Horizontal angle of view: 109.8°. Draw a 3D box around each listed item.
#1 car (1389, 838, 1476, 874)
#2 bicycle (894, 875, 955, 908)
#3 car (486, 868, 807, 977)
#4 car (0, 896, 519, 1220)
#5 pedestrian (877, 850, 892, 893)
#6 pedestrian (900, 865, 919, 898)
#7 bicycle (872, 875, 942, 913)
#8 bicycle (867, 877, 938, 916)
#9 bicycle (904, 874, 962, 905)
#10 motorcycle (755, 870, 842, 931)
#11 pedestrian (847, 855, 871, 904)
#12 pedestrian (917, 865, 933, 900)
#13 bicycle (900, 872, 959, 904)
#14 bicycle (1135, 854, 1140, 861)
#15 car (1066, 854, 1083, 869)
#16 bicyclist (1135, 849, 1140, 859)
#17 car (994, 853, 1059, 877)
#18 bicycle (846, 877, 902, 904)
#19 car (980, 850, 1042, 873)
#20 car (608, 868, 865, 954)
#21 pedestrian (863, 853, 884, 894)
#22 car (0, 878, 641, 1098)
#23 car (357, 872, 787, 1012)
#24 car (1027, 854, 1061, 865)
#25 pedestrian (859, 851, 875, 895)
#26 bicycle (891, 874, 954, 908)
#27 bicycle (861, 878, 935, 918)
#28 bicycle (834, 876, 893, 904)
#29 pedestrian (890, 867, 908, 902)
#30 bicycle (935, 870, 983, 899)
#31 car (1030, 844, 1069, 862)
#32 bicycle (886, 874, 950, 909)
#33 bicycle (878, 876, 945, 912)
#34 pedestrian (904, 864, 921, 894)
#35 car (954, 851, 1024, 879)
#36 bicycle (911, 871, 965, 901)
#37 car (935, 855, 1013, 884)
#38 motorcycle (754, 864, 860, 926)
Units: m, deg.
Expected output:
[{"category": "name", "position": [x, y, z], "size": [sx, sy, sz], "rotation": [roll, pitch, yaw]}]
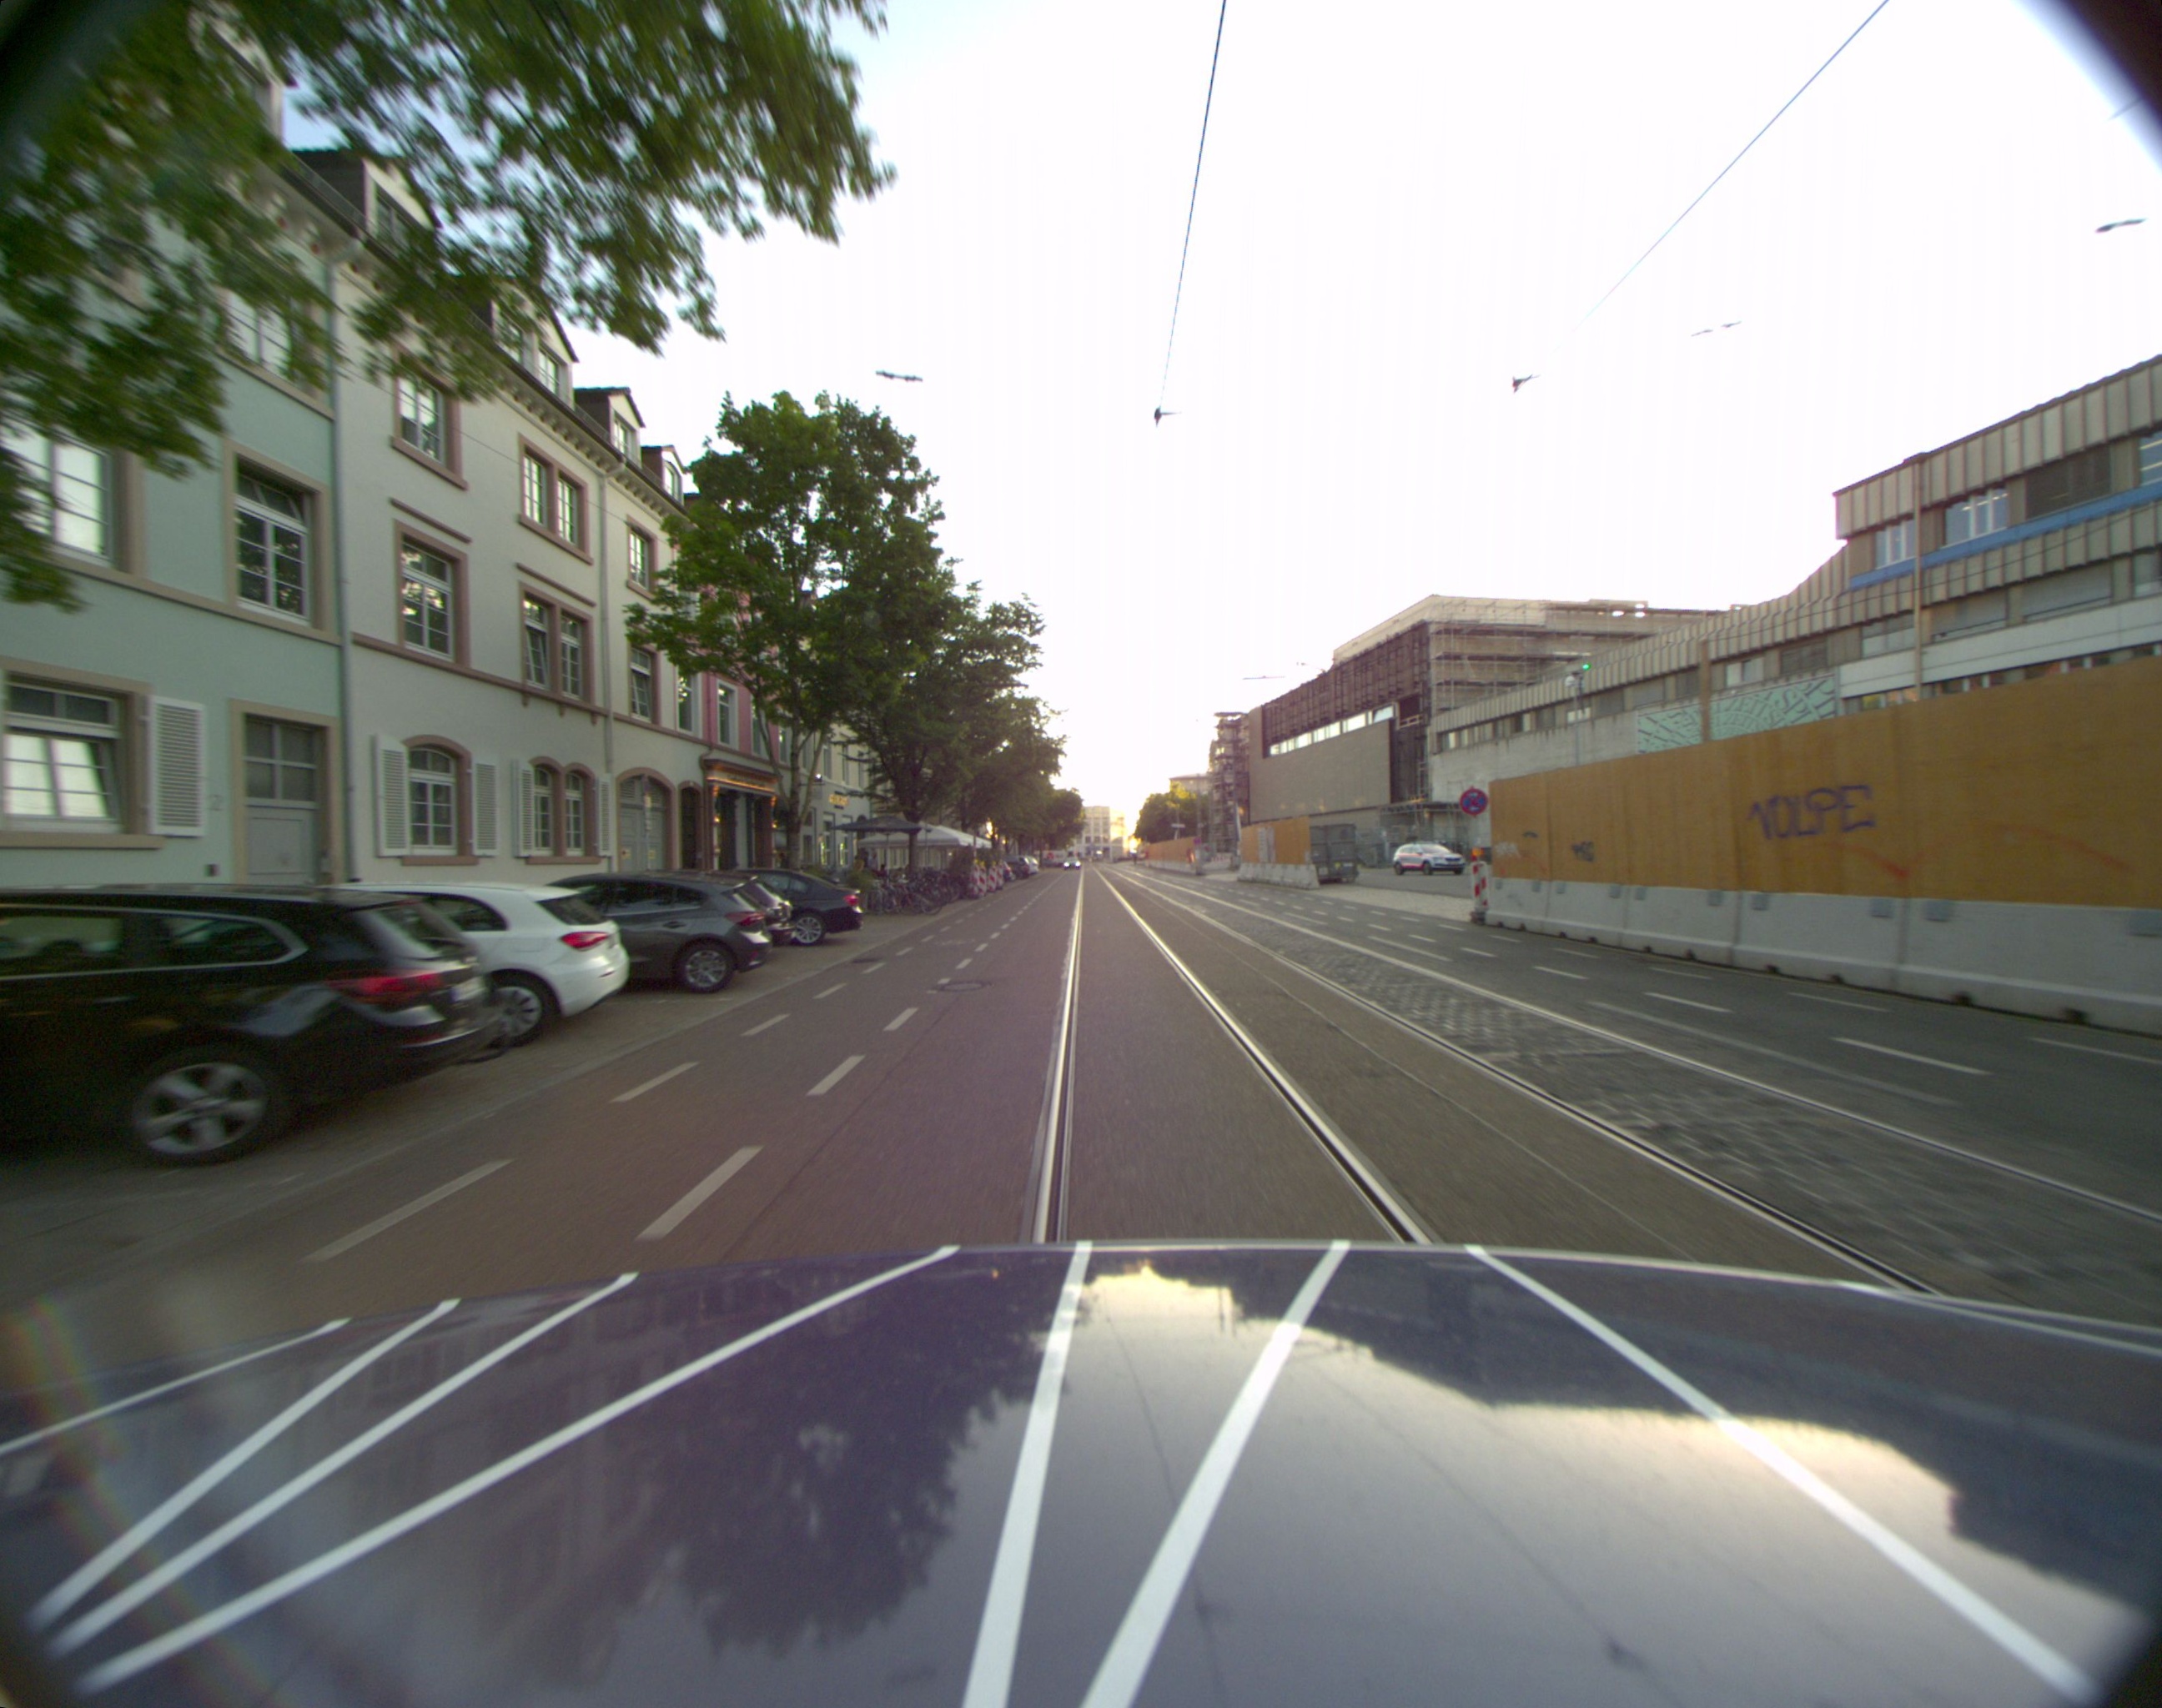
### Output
[{"category": "car", "position": [17.619, 0.104, 38.318], "size": [2.000, 1.654, 4.277], "rotation": [-2, 0, -7]}, {"category": "bicycle", "position": [-5.239, 1.250, 25.470], "size": [1.891, 1.025, 0.608], "rotation": [2, 0, -1]}, {"category": "car", "position": [-6.505, 1.015, 11.923], "size": [3.964, 1.462, 1.998], "rotation": [2, 0, -16]}, {"category": "car", "position": [-6.091, 1.037, 4.440], "size": [4.135, 1.462, 2.011], "rotation": [2, 0, -24]}, {"category": "pedestrian", "position": [-8.175, 0.705, 31.612], "size": [0.553, 1.753, 0.714], "rotation": [-2, 1, -13]}, {"category": "pedestrian", "position": [-6.891, 1.111, 30.581], "size": [0.599, 1.285, 0.504], "rotation": [-1, 1, 4]}, {"category": "bicycle", "position": [-5.168, 1.186, 22.644], "size": [1.891, 1.061, 0.674], "rotation": [2, 0, -1]}, {"category": "bicycle", "position": [-5.143, 1.217, 21.960], "size": [1.868, 1.025, 0.591], "rotation": [2, 0, -2]}, {"category": "bicycle", "position": [-5.226, 1.240, 26.850], "size": [1.891, 1.025, 0.608], "rotation": [2, 0, -1]}, {"category": "motorcycle", "position": [-6.440, 1.053, 17.362], "size": [1.790, 1.336, 0.533], "rotation": [1, 1, -1]}, {"category": "pedestrian", "position": [-8.211, 0.938, 28.149], "size": [0.552, 1.753, 0.894], "rotation": [-2, 1, 0]}, {"category": "pedestrian", "position": [-6.003, 1.091, 29.314], "size": [0.503, 1.285, 0.600], "rotation": [-2, 1, -4]}, {"category": "bicycle", "position": [-5.197, 1.163, 26.185], "size": [1.891, 1.025, 0.608], "rotation": [2, 0, -1]}, {"category": "bicycle", "position": [9.908, 0.562, 132.864], "size": [0.770, 1.221, 1.936], "rotation": [-1, 0, 0]}, {"category": "car", "position": [-0.774, 0.882, 91.171], "size": [1.840, 1.631, 4.169], "rotation": [-5, 0, 1]}, {"category": "bicyclist", "position": [9.905, -0.005, 132.826], "size": [0.770, 1.656, 1.018], "rotation": [-1, 0, 0]}, {"category": "car", "position": [-4.072, 0.801, 56.774], "size": [4.662, 1.678, 2.007], "rotation": [1, 0, -5]}, {"category": "bicycle", "position": [-7.233, 1.264, 26.553], "size": [1.820, 0.867, 0.325], "rotation": [-2, 1, -1]}, {"category": "car", "position": [-5.437, 0.576, 59.327], "size": [4.661, 1.678, 2.008], "rotation": [1, 0, -1]}, {"category": "car", "position": [-6.343, 1.046, 14.477], "size": [4.179, 1.418, 1.820], "rotation": [2, 0, -18]}, {"category": "pedestrian", "position": [-9.181, 0.867, 33.667], "size": [0.705, 1.753, 0.713], "rotation": [-2, 1, -27]}, {"category": "car", "position": [-6.491, 1.011, 6.863], "size": [4.135, 1.462, 1.983], "rotation": [2, 0, -24]}, {"category": "car", "position": [-6.040, 1.023, 9.629], "size": [4.132, 1.462, 1.821], "rotation": [2, 0, -16]}, {"category": "car", "position": [-5.472, 0.832, 111.172], "size": [4.614, 1.504, 1.859], "rotation": [1, -1, -24]}, {"category": "pedestrian", "position": [-8.835, 0.771, 31.339], "size": [0.553, 1.753, 0.851], "rotation": [-2, 1, -16]}, {"category": "bicycle", "position": [-5.156, 1.213, 24.766], "size": [1.891, 1.025, 0.608], "rotation": [2, 0, -1]}, {"category": "bicycle", "position": [-5.134, 1.236, 21.364], "size": [1.908, 1.025, 0.533], "rotation": [2, 0, -1]}, {"category": "bicycle", "position": [-7.238, 1.201, 25.295], "size": [1.820, 0.867, 0.325], "rotation": [2, 0, -1]}, {"category": "pedestrian", "position": [-6.969, 1.155, 29.097], "size": [0.503, 1.285, 0.600], "rotation": [-2, 1, -3]}, {"category": "bicycle", "position": [-4.542, 1.143, 28.350], "size": [1.683, 1.025, 0.557], "rotation": [2, 0, -1]}, {"category": "car", "position": [-4.821, -0.115, 117.461], "size": [5.650, 2.678, 2.166], "rotation": [-1, 0, -34]}, {"category": "bicycle", "position": [-5.138, 1.186, 24.018], "size": [1.891, 1.025, 0.608], "rotation": [2, 0, -1]}, {"category": "bicycle", "position": [-5.195, 1.215, 23.322], "size": [1.891, 1.025, 0.608], "rotation": [2, 0, -1]}, {"category": "pedestrian", "position": [-7.360, 1.077, 33.222], "size": [0.553, 1.298, 0.713], "rotation": [-2, 1, -27]}, {"category": "car", "position": [-6.121, 0.751, 50.684], "size": [4.167, 1.796, 2.003], "rotation": [1, 0, -28]}, {"category": "bicycle", "position": [-5.194, 1.159, 27.604], "size": [1.820, 1.025, 0.608], "rotation": [2, 0, -1]}, {"category": "car", "position": [-5.978, 0.842, 42.418], "size": [3.979, 1.544, 1.702], "rotation": [1, 0, -25]}, {"category": "motorcycle", "position": [-6.665, 0.988, 18.589], "size": [2.228, 1.453, 0.967], "rotation": [1, 0, -1]}]
